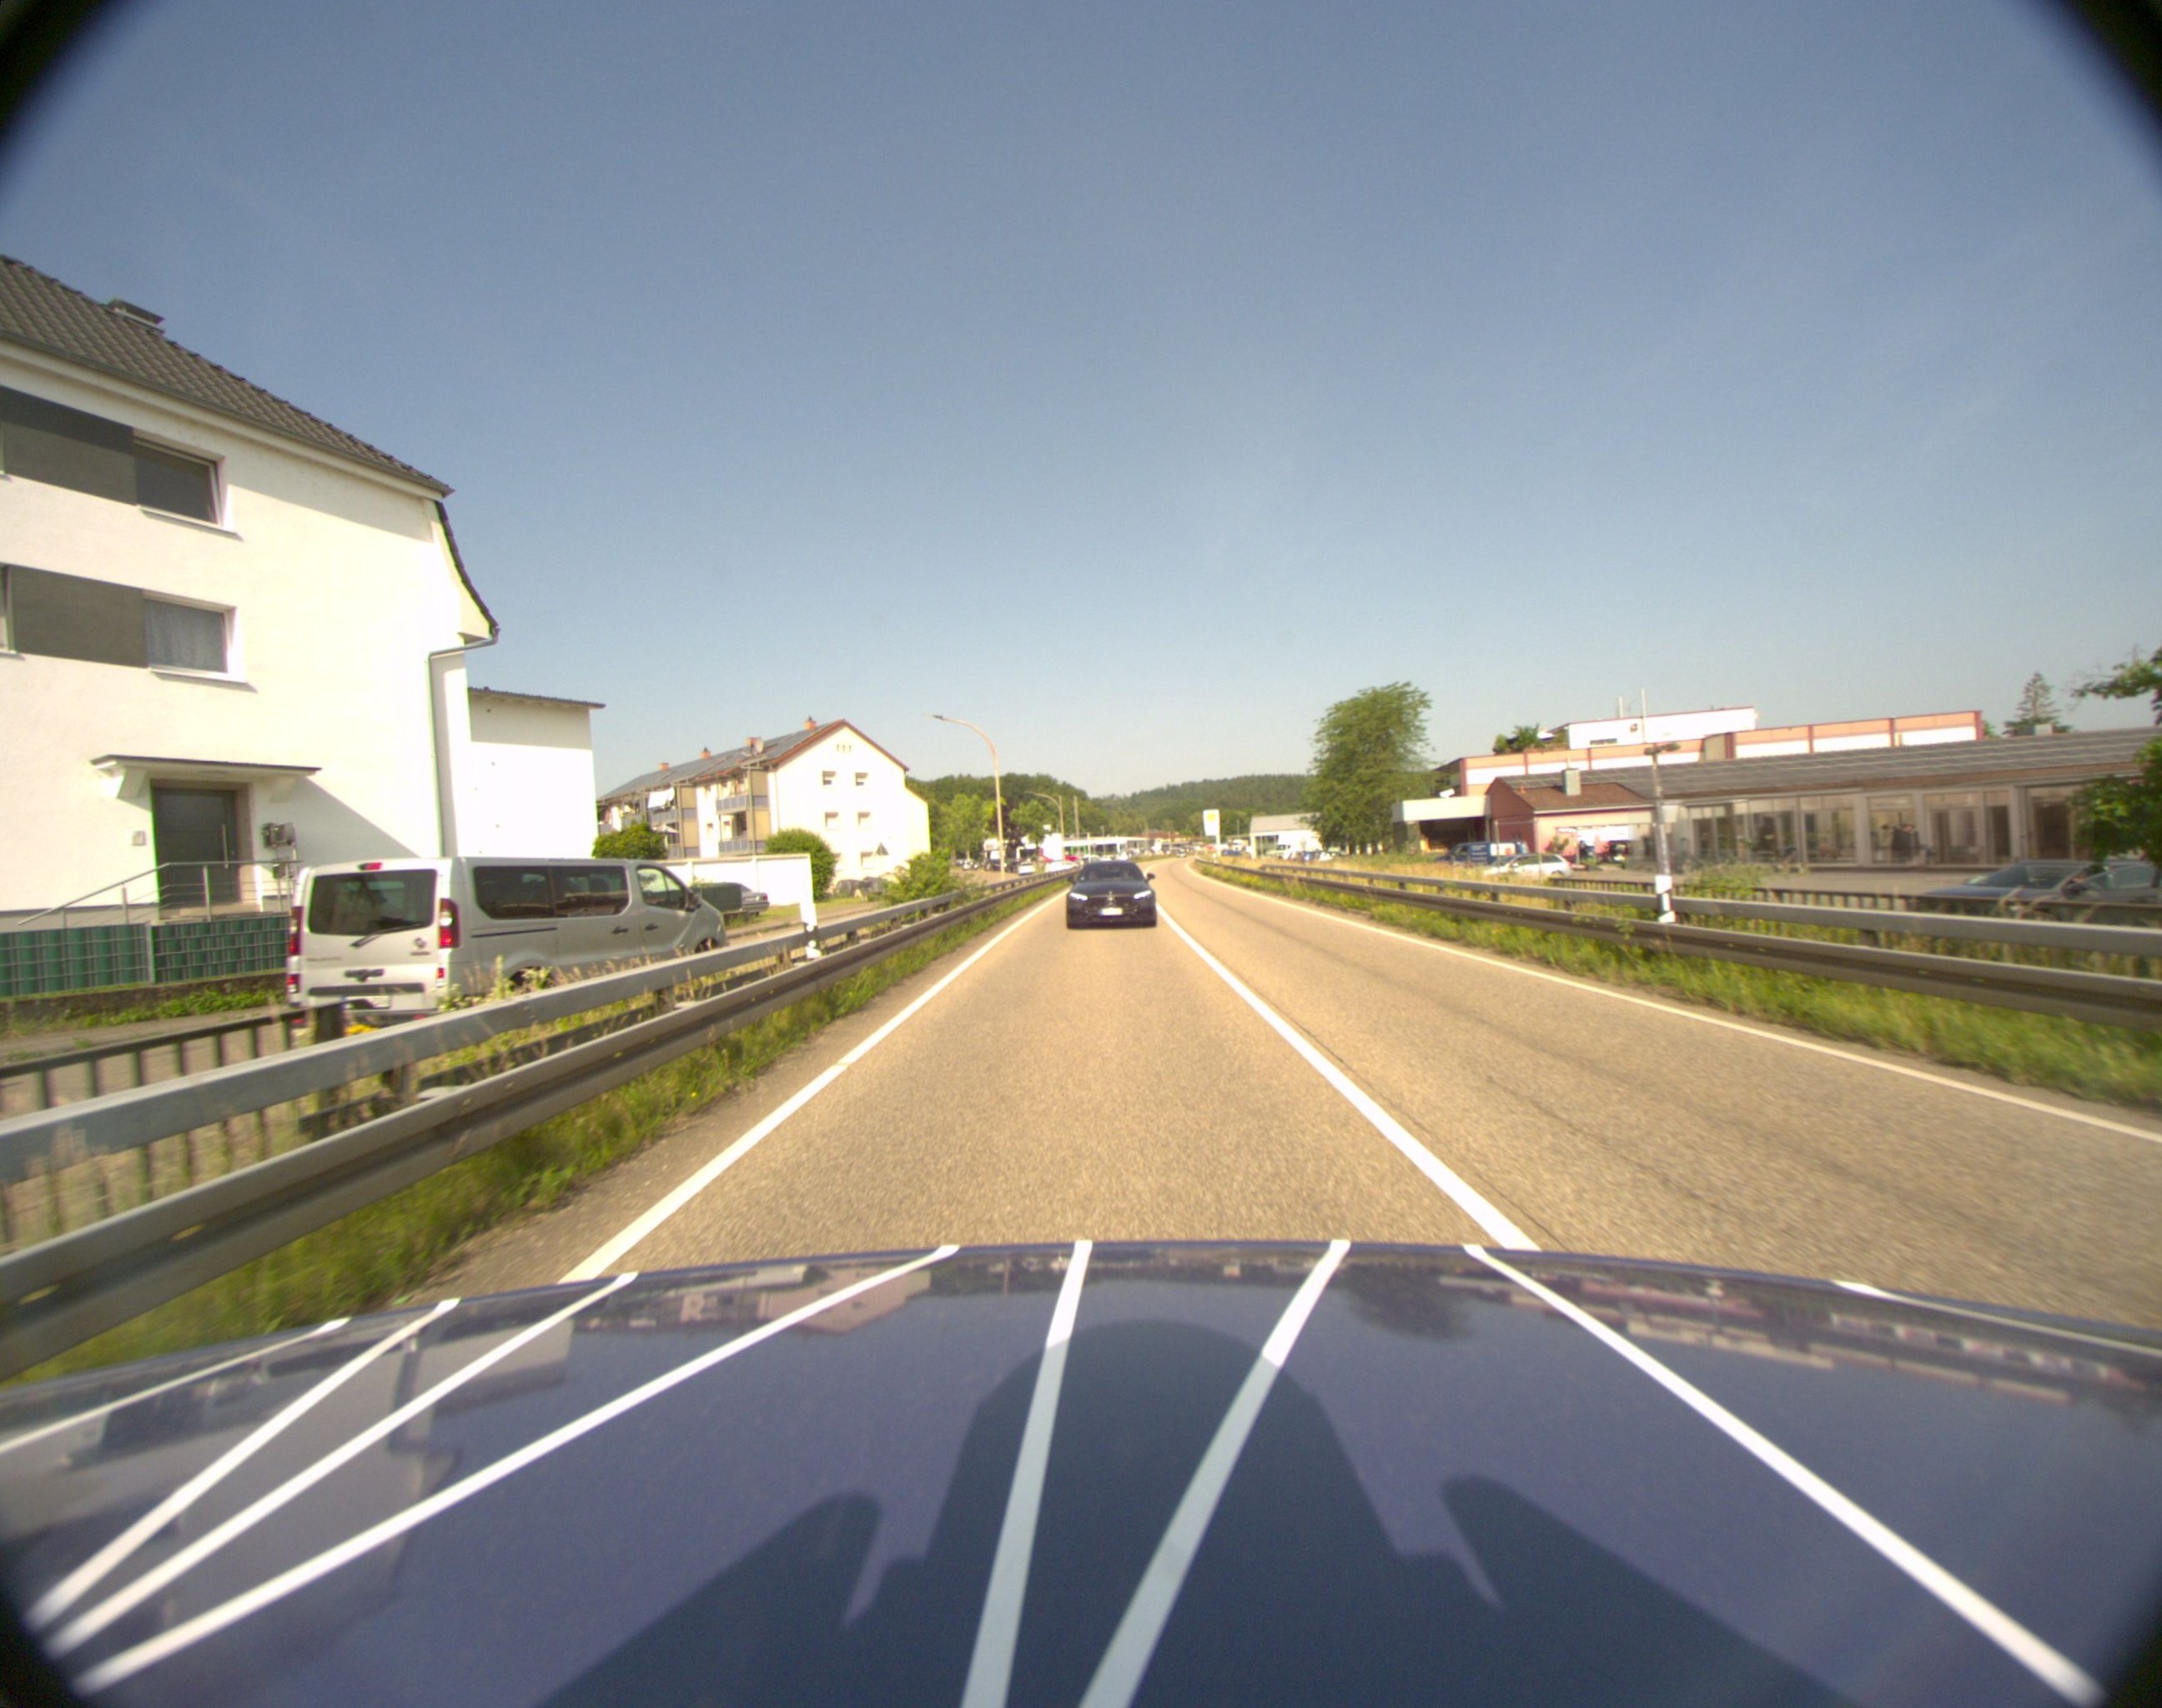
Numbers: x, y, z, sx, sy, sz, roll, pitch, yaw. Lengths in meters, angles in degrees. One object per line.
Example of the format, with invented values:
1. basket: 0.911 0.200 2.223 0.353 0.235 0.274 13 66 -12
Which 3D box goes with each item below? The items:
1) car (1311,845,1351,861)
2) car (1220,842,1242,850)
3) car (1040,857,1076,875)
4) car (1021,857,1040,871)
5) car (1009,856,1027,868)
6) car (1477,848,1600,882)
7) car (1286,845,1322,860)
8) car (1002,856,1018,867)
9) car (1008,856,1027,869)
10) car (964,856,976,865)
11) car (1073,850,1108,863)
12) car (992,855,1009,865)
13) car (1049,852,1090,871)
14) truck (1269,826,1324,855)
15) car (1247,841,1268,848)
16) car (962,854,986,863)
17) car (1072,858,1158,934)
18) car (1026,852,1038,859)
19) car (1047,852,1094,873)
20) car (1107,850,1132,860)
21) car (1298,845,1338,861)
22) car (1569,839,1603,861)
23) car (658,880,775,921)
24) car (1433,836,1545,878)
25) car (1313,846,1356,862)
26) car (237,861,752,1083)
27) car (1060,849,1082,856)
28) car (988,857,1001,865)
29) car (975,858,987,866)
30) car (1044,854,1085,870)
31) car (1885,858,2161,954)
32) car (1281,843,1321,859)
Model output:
1. car: 25.802 -0.111 78.665 3.753 1.491 1.859 -3 1 15
2. car: 31.137 -1.683 157.632 4.237 1.498 1.981 -2 1 -25
3. car: -2.164 1.079 71.177 3.273 1.368 1.548 -5 2 -4
4. car: -5.677 1.088 84.521 1.789 1.411 4.436 -3 0 -7
5. car: -7.866 1.008 95.083 1.710 1.397 3.658 -3 1 -12
6. car: 21.205 0.501 35.325 4.627 1.374 1.743 -2 1 1
7. car: 26.514 -0.209 90.408 3.755 1.491 1.932 -3 1 6
8. car: -9.735 0.959 103.702 1.657 1.359 3.658 -3 1 -12
9. car: -7.842 1.033 93.578 1.710 1.397 4.479 -3 1 -12
10. car: -19.805 1.159 135.758 1.787 1.466 3.984 -3 1 -12
11. car: 1.356 0.297 105.948 4.324 1.630 2.143 -2 1 20
12. car: -11.879 0.887 111.998 1.915 1.397 4.519 -3 1 -12
13. car: -1.173 0.747 76.302 3.998 1.441 1.764 -6 1 -2
14. truck: 29.768 -1.898 104.623 8.226 3.536 2.799 -4 1 -38
15. car: 39.037 -2.101 168.327 4.235 1.395 1.894 -4 1 -25
16. car: -22.215 0.962 157.866 4.755 1.579 1.928 -2 2 -17
17. car: 0.784 0.859 17.486 1.716 1.382 4.147 -2 1 3
18. car: -12.238 0.291 190.445 2.001 1.537 4.611 -2 1 7
19. car: -1.057 0.782 74.015 4.245 1.563 1.917 -6 2 -5
20. car: 6.564 0.135 128.869 3.994 1.571 1.779 -2 1 8
21. car: 25.500 -0.090 81.727 3.755 1.491 1.933 -3 1 8
22. car: 29.049 -0.241 43.744 0.816 1.139 2.017 -2 2 7
23. car: -13.733 1.692 28.556 4.598 1.340 1.758 -1 0 32
24. car: 21.544 0.191 40.214 4.892 2.002 2.004 -2 1 38
25. car: 25.171 -0.015 75.579 3.754 1.452 1.862 -2 1 8
26. car: -6.606 1.132 9.697 1.998 1.933 5.363 -2 0 6
27. car: -2.262 -0.285 174.597 4.742 1.556 1.934 -1 2 18
28. car: -13.535 1.042 118.384 1.594 1.179 3.658 -3 1 -12
29. car: -17.178 1.314 130.427 1.595 1.179 3.657 -3 1 -16
30. car: -1.750 0.770 78.874 4.070 1.444 1.727 -3 1 -8
31. car: 19.573 0.999 15.493 4.310 1.656 1.874 -2 1 1
32. car: 26.911 -0.381 93.174 4.359 1.645 1.932 -3 1 6
